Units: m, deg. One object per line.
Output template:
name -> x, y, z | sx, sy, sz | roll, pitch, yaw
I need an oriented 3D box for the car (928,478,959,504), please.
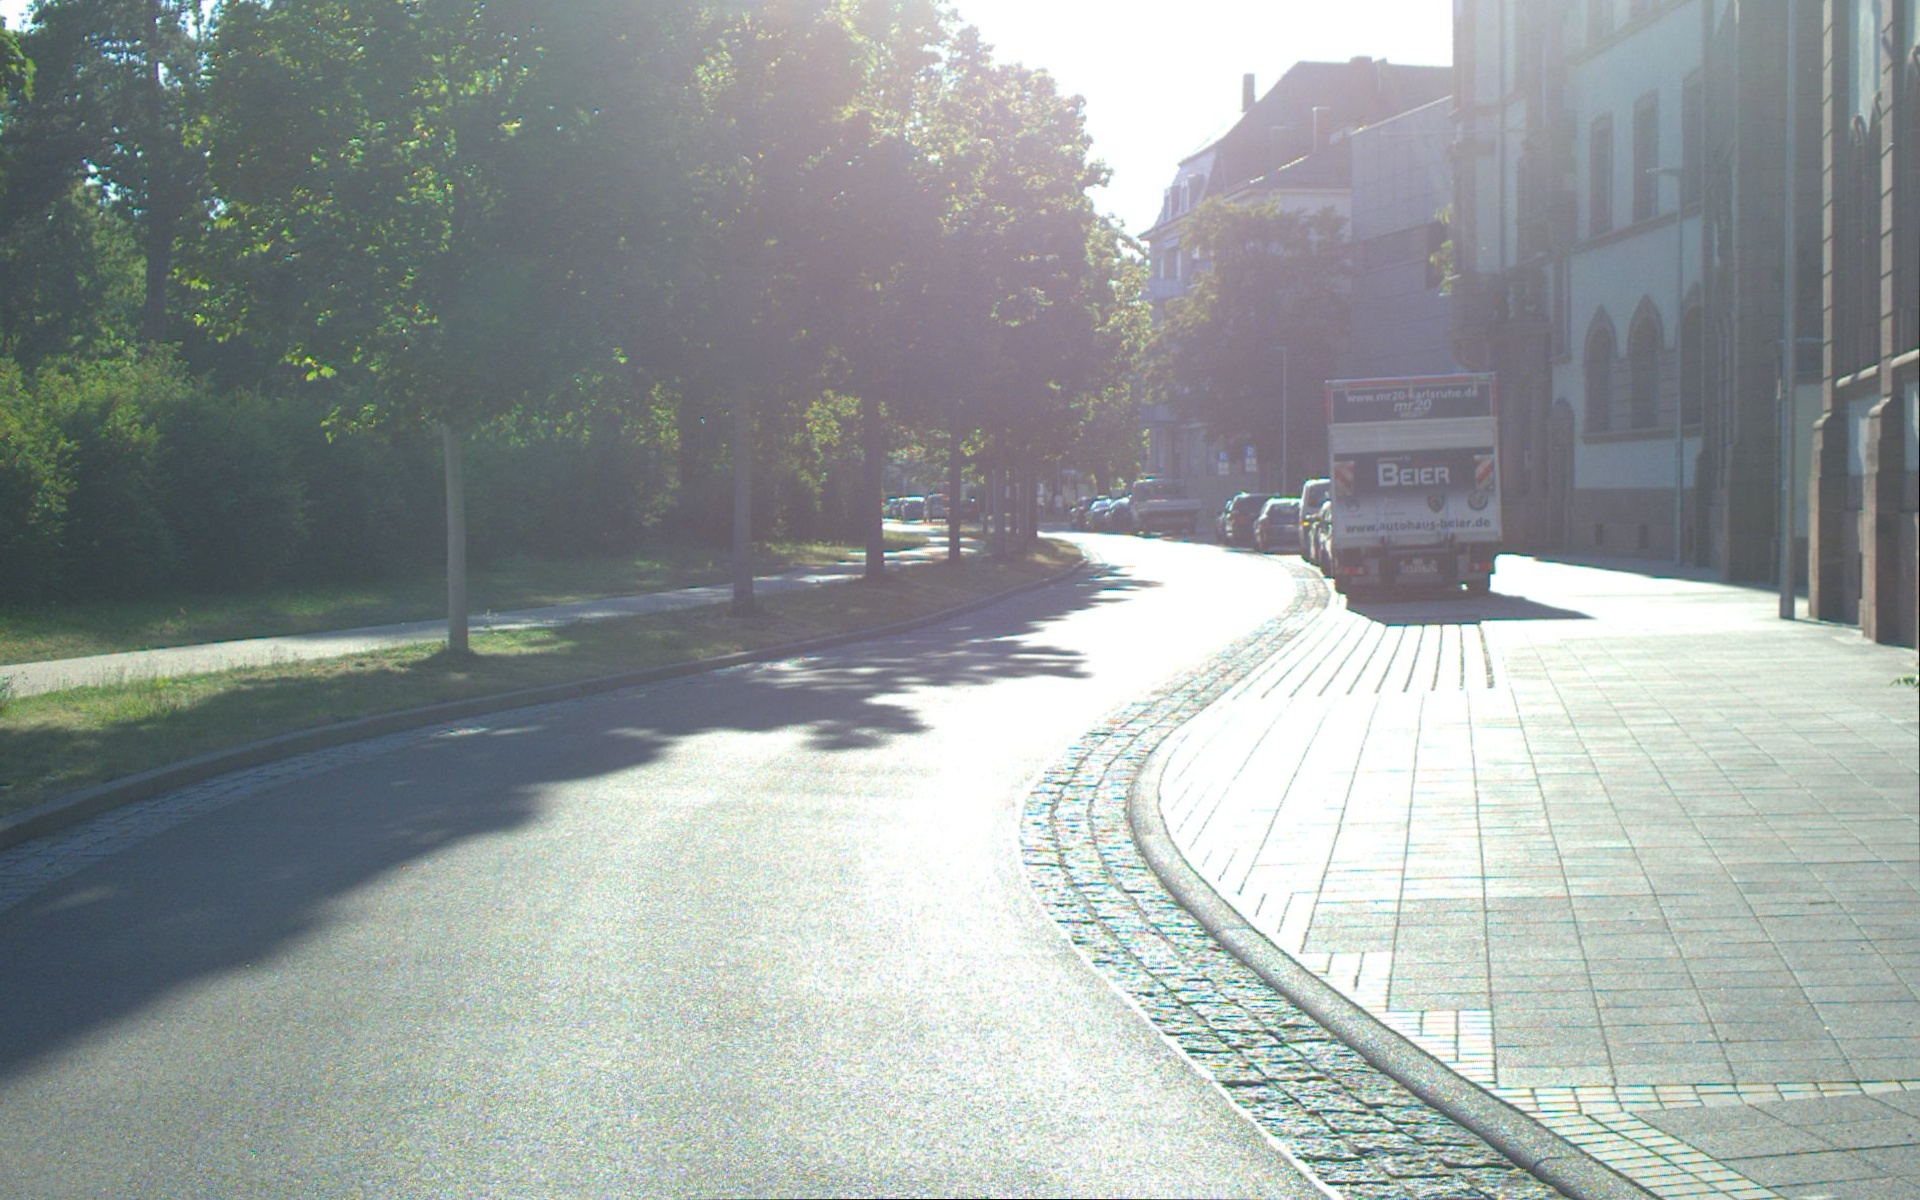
car -> -1.089, -7.174, 226.238 | 1.793, 1.718, 4.001 | 0, 2, -4

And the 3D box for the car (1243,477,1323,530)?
car -> 9.167, -2.760, 97.733 | 1.747, 1.461, 4.478 | 0, 2, -1

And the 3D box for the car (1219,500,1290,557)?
car -> 9.223, -2.264, 107.997 | 1.724, 1.663, 4.115 | -1, 2, -2

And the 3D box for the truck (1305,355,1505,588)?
truck -> 6.356, -1.841, 49.825 | 2.624, 3.110, 6.087 | -1, 2, 6

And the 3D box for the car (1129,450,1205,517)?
car -> 8.211, -4.633, 137.006 | 2.211, 2.521, 6.149 | -2, 2, -4

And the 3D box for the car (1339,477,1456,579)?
car -> 7.111, -1.190, 55.719 | 1.769, 1.525, 4.571 | -2, 2, 8

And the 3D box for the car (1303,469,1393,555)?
car -> 9.633, -2.185, 85.710 | 1.994, 1.959, 4.849 | -3, 1, 5

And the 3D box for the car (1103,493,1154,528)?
car -> 7.264, -3.861, 148.288 | 1.690, 1.435, 3.551 | -1, 2, -5
